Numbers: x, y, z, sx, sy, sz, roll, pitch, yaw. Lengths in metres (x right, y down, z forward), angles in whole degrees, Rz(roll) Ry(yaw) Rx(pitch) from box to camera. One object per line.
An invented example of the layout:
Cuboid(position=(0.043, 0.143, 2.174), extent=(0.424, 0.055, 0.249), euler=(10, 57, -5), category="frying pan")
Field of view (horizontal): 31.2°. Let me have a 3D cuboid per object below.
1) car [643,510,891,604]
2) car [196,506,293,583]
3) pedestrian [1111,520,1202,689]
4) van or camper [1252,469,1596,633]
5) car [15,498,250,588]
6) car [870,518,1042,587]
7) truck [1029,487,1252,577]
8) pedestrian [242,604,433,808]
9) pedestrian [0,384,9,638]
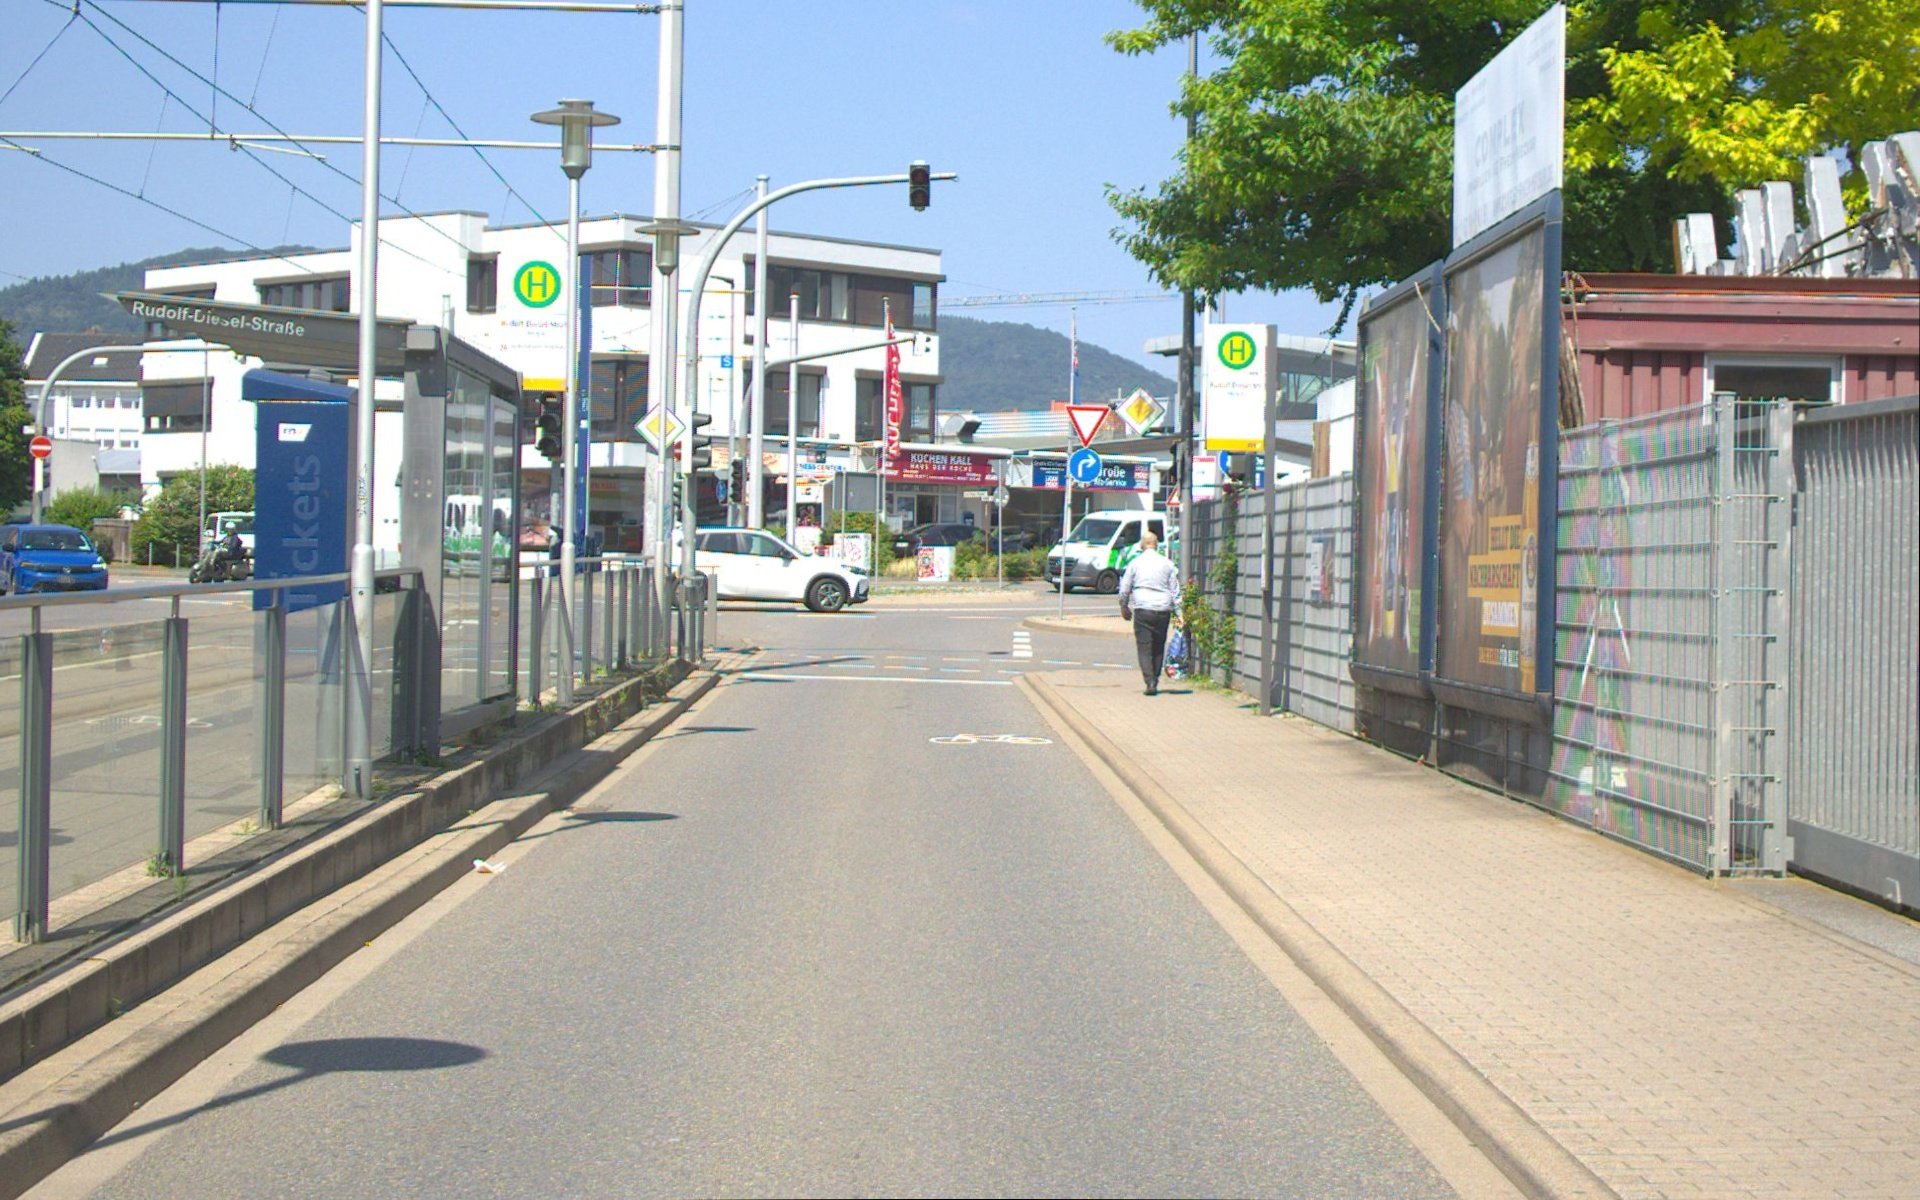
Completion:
Cuboid(position=(-3.780, -0.852, 67.031), extent=(4.548, 1.727, 2.001), euler=(1, 1, -12), category="car")
Cuboid(position=(-19.556, -1.529, 94.140), extent=(2.162, 2.007, 5.019), euler=(1, 1, -7), category="car")
Cuboid(position=(1.994, 0.038, 34.931), extent=(0.812, 1.693, 0.887), euler=(1, 1, -3), category="pedestrian")
Cuboid(position=(8.147, -0.882, 60.850), extent=(5.811, 2.764, 2.091), euler=(1, 2, 2), category="van or camper")
Cuboid(position=(-15.366, -1.053, 63.822), extent=(4.147, 1.531, 1.807), euler=(1, 1, -16), category="car")
Cuboid(position=(-0.096, -1.432, 104.483), extent=(5.266, 1.959, 1.965), euler=(1, 1, -43), category="car")
Cuboid(position=(5.136, -1.914, 97.013), extent=(6.370, 2.329, 2.209), euler=(1, 1, -39), category="truck")
Cuboid(position=(-3.501, 0.585, 19.376), extent=(0.943, 1.095, 0.726), euler=(1, 1, -1), category="pedestrian")
Cuboid(position=(-3.977, 0.044, 12.505), extent=(0.724, 1.719, 0.944), euler=(2, 1, -1), category="pedestrian")
